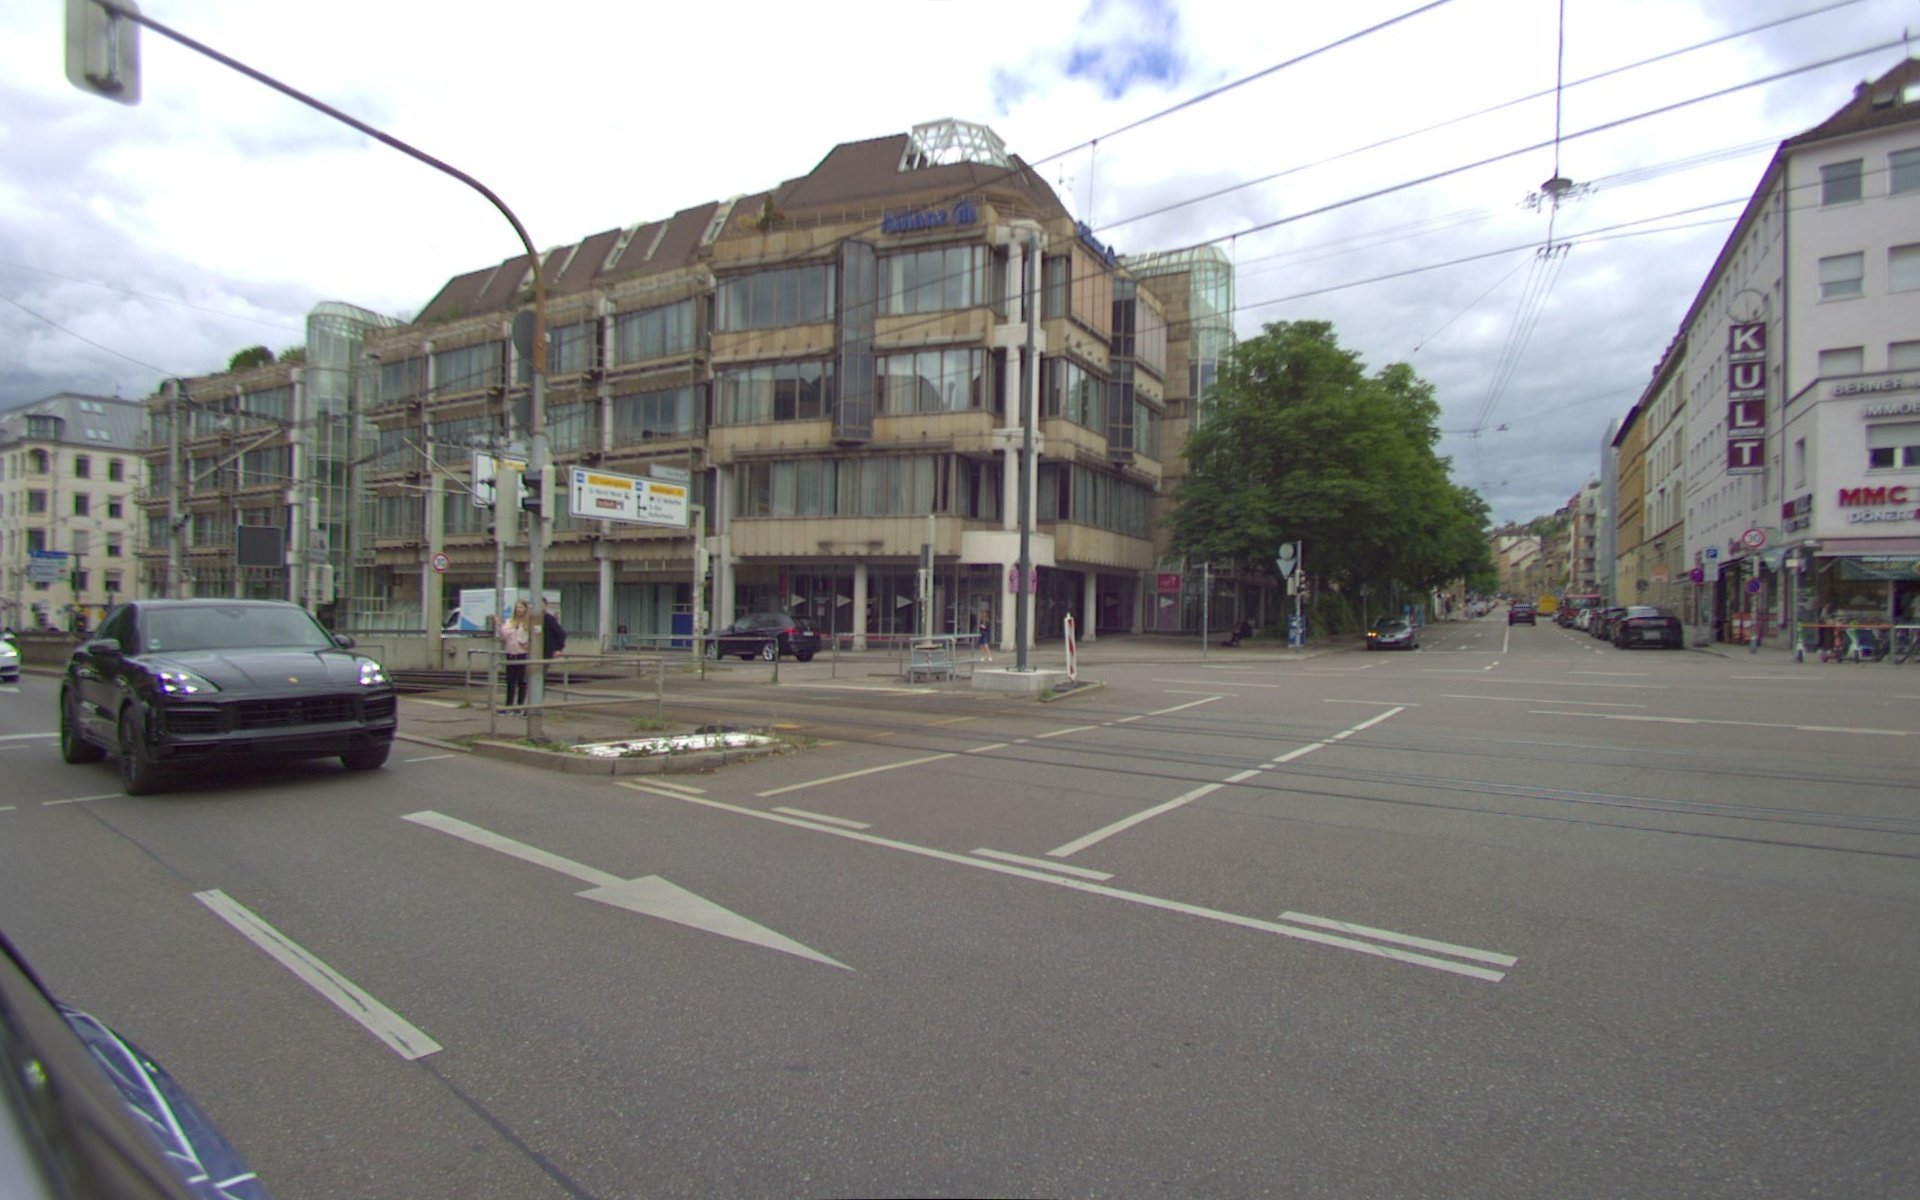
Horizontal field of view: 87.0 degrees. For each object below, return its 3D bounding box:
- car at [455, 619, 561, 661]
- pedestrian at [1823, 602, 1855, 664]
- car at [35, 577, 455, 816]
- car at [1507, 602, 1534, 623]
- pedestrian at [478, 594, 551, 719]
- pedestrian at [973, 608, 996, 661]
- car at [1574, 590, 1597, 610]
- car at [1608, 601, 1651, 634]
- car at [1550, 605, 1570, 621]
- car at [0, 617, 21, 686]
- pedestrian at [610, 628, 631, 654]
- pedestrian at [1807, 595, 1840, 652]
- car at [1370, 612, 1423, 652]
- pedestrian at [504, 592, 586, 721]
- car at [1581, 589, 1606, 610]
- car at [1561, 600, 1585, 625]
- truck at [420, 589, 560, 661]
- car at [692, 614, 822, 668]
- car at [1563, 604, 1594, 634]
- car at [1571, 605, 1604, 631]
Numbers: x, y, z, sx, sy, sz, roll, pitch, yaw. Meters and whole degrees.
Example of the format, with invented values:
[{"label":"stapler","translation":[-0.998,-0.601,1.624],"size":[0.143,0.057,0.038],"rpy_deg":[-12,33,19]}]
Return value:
[{"label":"car","translation":[-17.602,1.535,39.336],"size":[4.523,1.564,1.643],"rpy_deg":[-1,-1,34]},{"label":"pedestrian","translation":[26.055,0.969,29.997],"size":[0.503,1.793,0.578],"rpy_deg":[0,-2,-39]},{"label":"car","translation":[-7.040,0.748,9.689],"size":[5.348,1.688,2.061],"rpy_deg":[-2,-2,41]},{"label":"car","translation":[47.032,1.039,84.992],"size":[1.916,1.725,4.450],"rpy_deg":[-1,-1,28]},{"label":"pedestrian","translation":[-6.414,0.796,14.588],"size":[0.637,1.734,0.757],"rpy_deg":[-2,-2,38]},{"label":"pedestrian","translation":[0.837,1.188,34.640],"size":[0.576,1.793,0.504],"rpy_deg":[-2,-2,41]},{"label":"car","translation":[57.376,0.009,92.829],"size":[1.645,1.725,3.609],"rpy_deg":[-1,-1,33]},{"label":"car","translation":[32.561,0.834,49.275],"size":[1.645,1.545,3.609],"rpy_deg":[-1,-1,33]},{"label":"car","translation":[63.649,1.384,107.307],"size":[1.645,1.725,3.609],"rpy_deg":[-1,-1,33]},{"label":"car","translation":[-23.499,1.191,23.441],"size":[3.994,1.542,1.926],"rpy_deg":[-1,0,38]},{"label":"pedestrian","translation":[-17.440,2.105,51.929],"size":[0.738,1.275,0.724],"rpy_deg":[-1,0,34]},{"label":"pedestrian","translation":[26.100,0.709,30.593],"size":[0.653,1.718,0.773],"rpy_deg":[-2,-2,45]},{"label":"car","translation":[18.164,1.297,42.150],"size":[1.939,1.542,3.969],"rpy_deg":[-1,0,23]},{"label":"pedestrian","translation":[-5.787,0.766,14.120],"size":[0.771,1.734,0.784],"rpy_deg":[-2,-2,39]},{"label":"car","translation":[52.825,-0.013,84.369],"size":[1.645,1.725,3.609],"rpy_deg":[-1,-1,33]},{"label":"car","translation":[45.050,0.919,74.332],"size":[1.385,1.753,3.609],"rpy_deg":[-1,-1,33]},{"label":"truck","translation":[-21.616,1.157,46.356],"size":[7.354,3.100,2.248],"rpy_deg":[-1,-3,34]},{"label":"car","translation":[-7.313,1.440,36.318],"size":[4.767,1.772,1.660],"rpy_deg":[-1,0,33]},{"label":"car","translation":[40.122,1.261,65.630],"size":[1.645,1.725,3.609],"rpy_deg":[-1,-5,33]},{"label":"car","translation":[42.911,1.202,69.224],"size":[1.642,1.725,3.615],"rpy_deg":[-1,-1,28]}]
